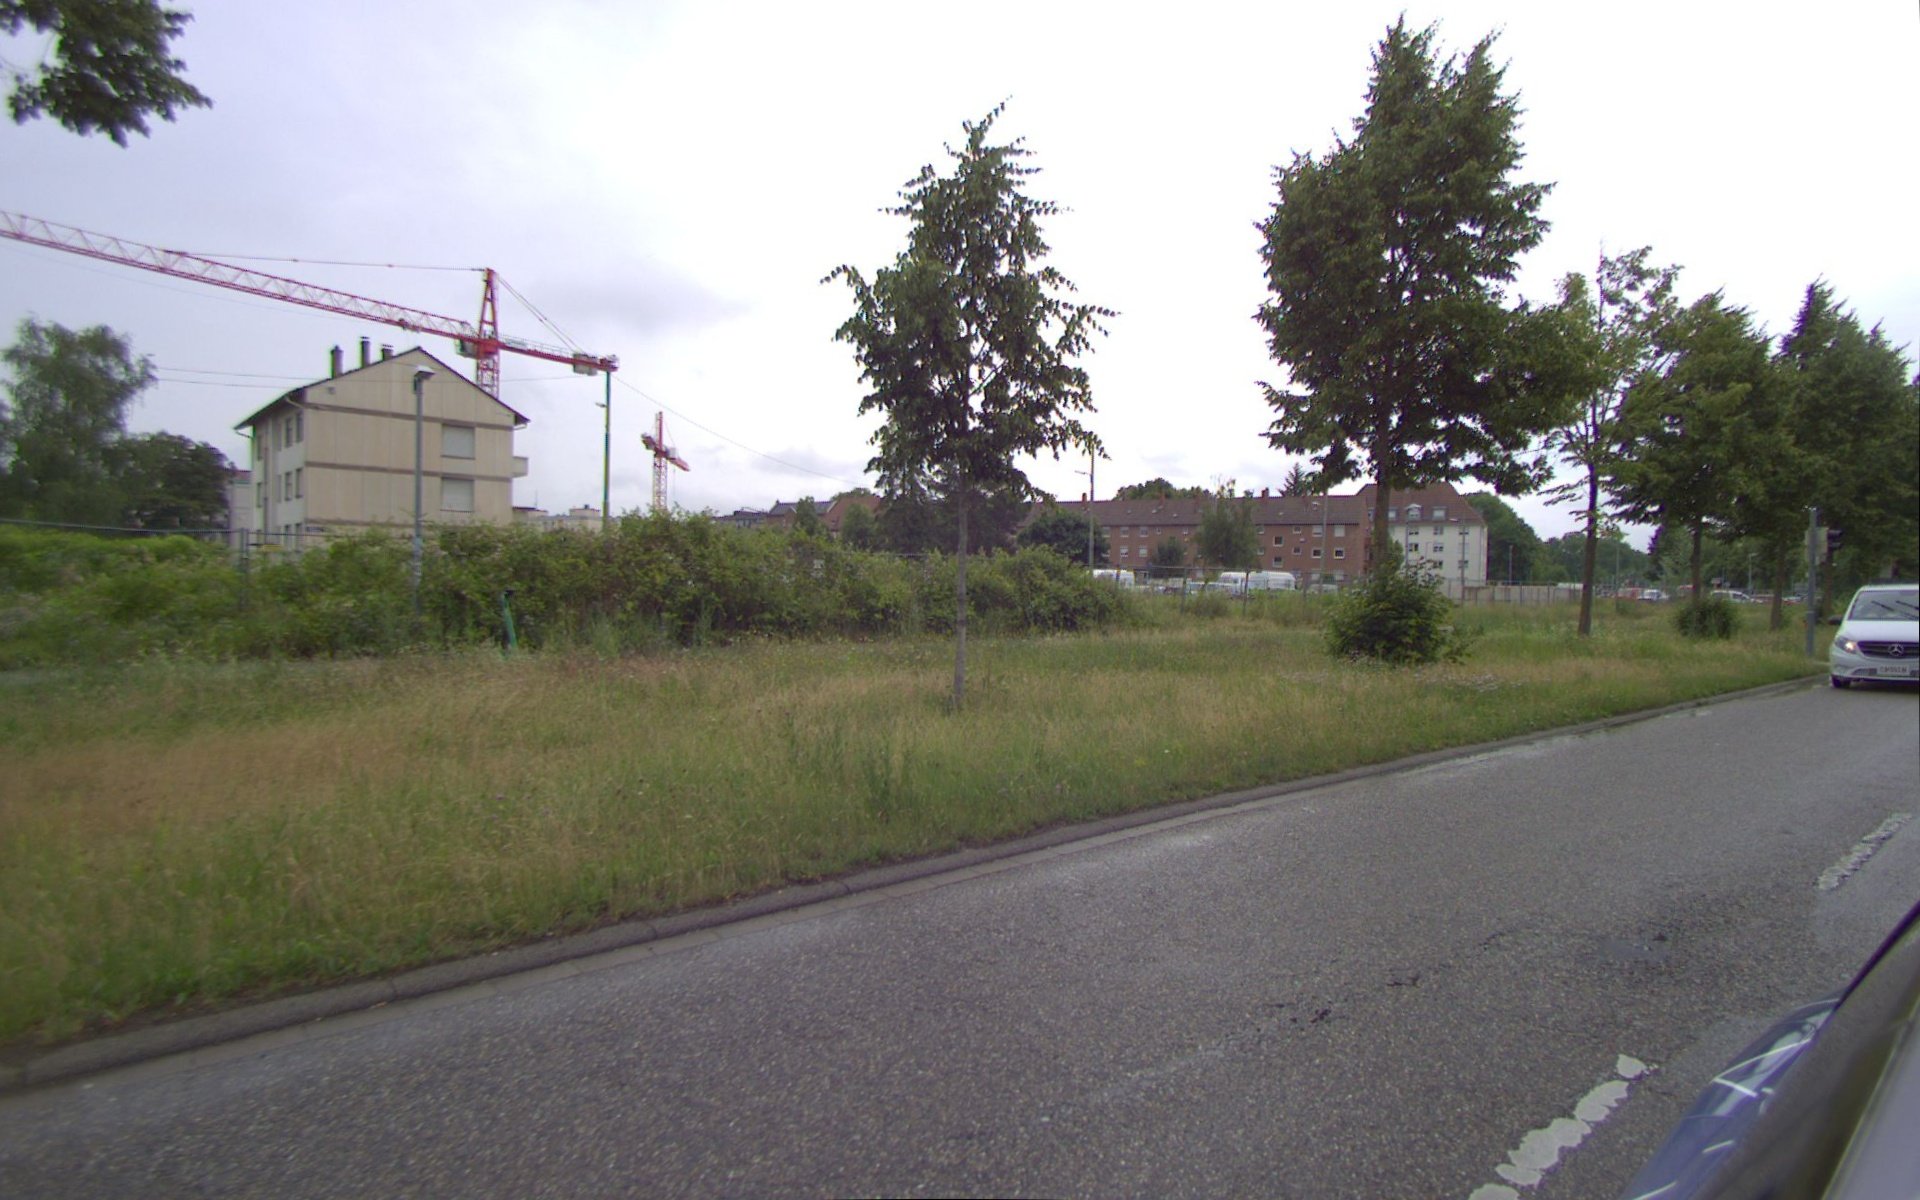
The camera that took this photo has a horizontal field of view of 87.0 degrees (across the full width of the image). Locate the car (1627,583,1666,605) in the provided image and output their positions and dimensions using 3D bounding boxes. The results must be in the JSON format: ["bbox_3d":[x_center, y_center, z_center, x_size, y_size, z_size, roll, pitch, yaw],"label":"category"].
[{"bbox_3d":[73.169,-0.636,107.836,3.921,2.339,2.002,0,0,-32],"label":"car"}]

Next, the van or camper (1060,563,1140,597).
[{"bbox_3d":[10.906,-1.516,78.483,6.310,2.568,2.779,0,1,-43],"label":"van or camper"}]

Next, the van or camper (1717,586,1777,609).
[{"bbox_3d":[73.968,-0.253,95.155,4.322,2.039,1.831,1,1,44],"label":"van or camper"}]

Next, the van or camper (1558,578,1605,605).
[{"bbox_3d":[72.162,-1.028,117.475,5.399,3.073,2.349,0,0,-29],"label":"van or camper"}]

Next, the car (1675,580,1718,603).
[{"bbox_3d":[75.542,-0.873,103.756,3.918,2.339,2.003,0,0,-27],"label":"car"}]

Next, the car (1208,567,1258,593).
[{"bbox_3d":[24.774,-1.774,91.817,4.681,2.247,2.273,0,1,-44],"label":"car"}]

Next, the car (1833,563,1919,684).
[{"bbox_3d":[17.653,0.364,18.402,5.003,2.004,1.971,-1,2,-41],"label":"car"}]

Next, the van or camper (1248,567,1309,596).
[{"bbox_3d":[26.592,-1.522,84.398,6.044,2.336,2.205,0,1,-43],"label":"van or camper"}]

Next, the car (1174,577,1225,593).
[{"bbox_3d":[20.752,-1.301,87.680,4.681,1.369,2.092,0,1,-44],"label":"car"}]

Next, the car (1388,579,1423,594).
[{"bbox_3d":[44.860,-1.365,101.877,1.992,1.405,4.499,0,0,42],"label":"car"}]
